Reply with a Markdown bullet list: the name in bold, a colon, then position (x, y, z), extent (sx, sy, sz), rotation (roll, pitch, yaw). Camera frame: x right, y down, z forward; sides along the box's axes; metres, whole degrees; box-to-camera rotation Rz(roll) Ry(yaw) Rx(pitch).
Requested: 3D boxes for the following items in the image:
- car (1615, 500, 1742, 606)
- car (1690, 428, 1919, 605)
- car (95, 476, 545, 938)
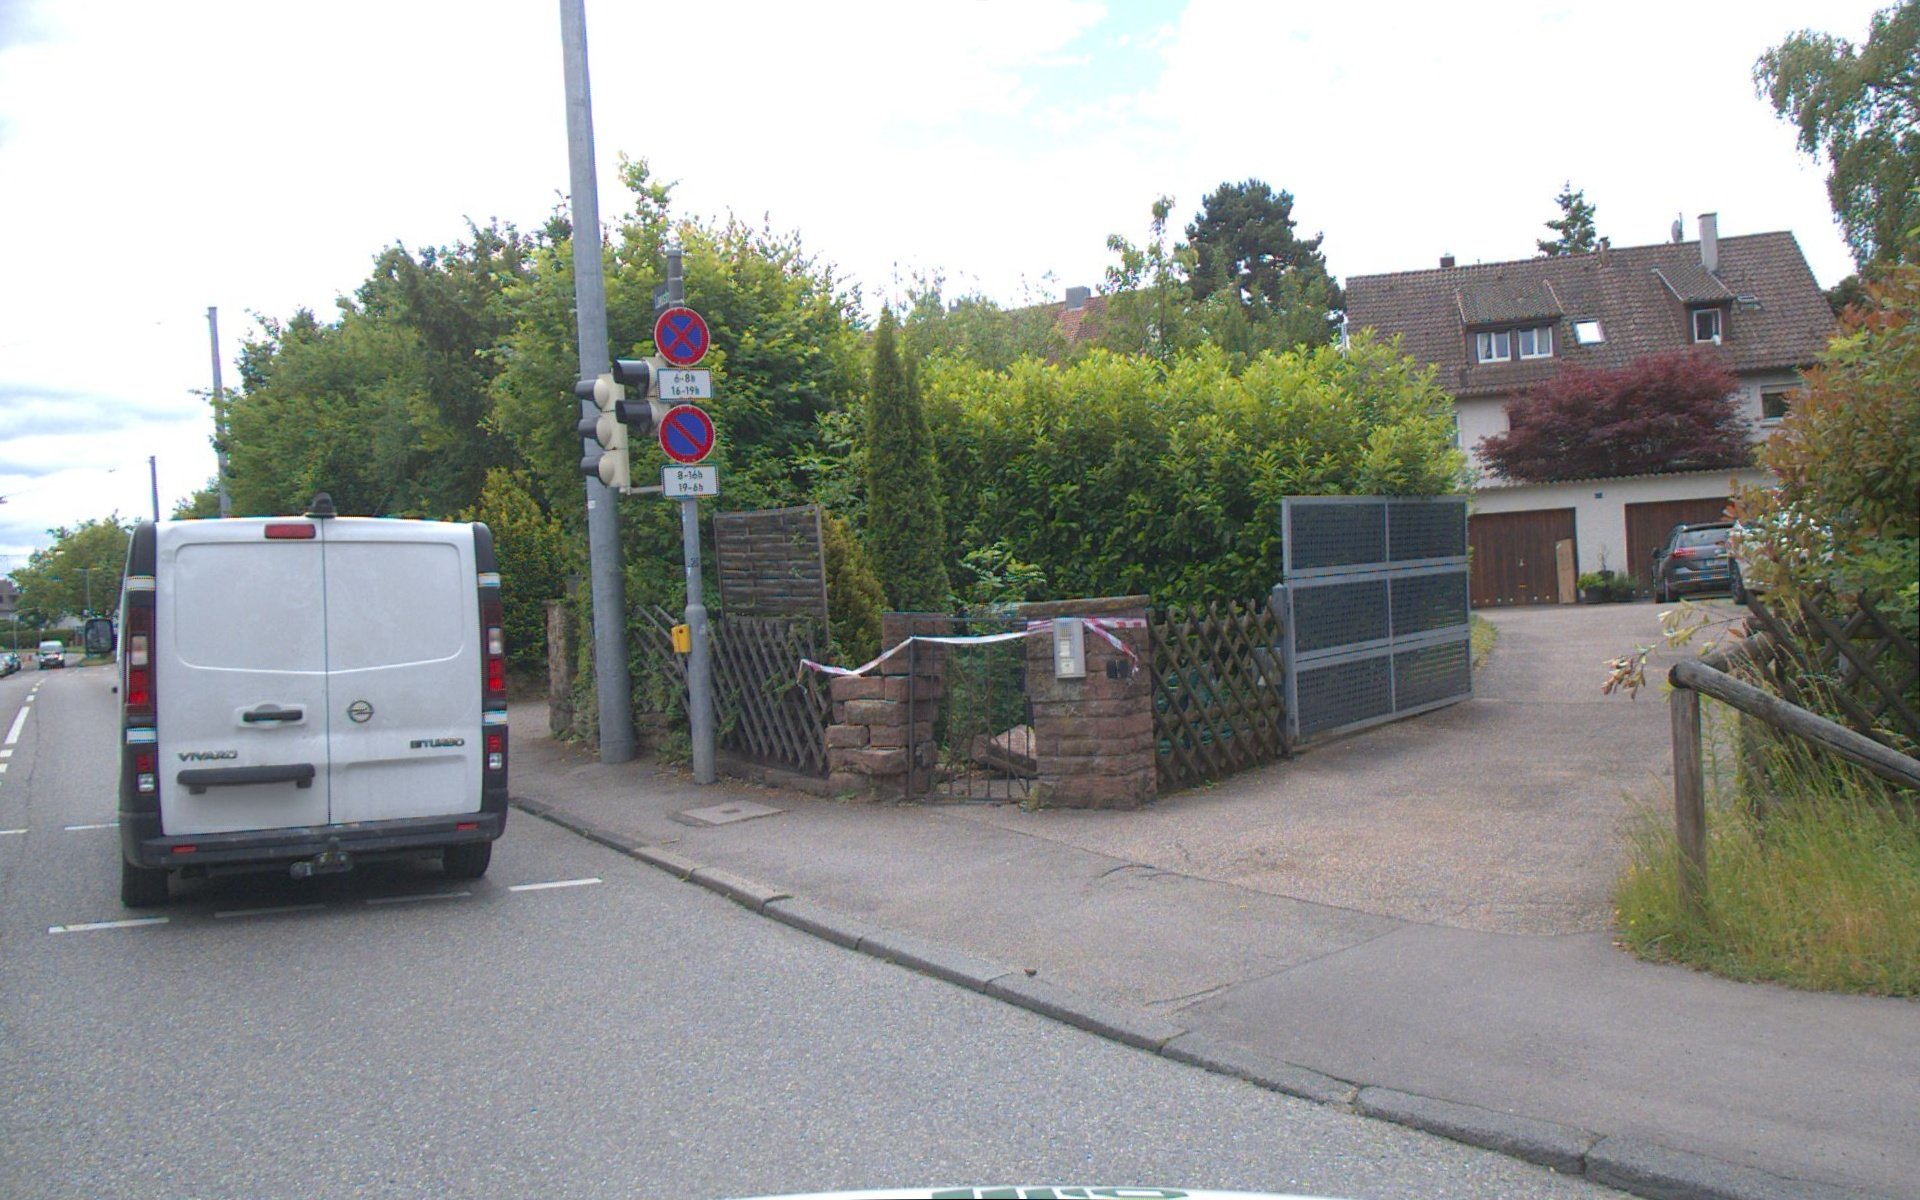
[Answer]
- **car**: position (14.122, -0.875, 32.683), extent (1.561, 1.537, 3.602), rotation (-6, -6, 13)
- **car**: position (11.846, -1.084, 23.280), extent (1.952, 2.048, 4.288), rotation (-6, -1, 13)
- **car**: position (-4.083, 0.487, 10.119), extent (1.982, 2.073, 4.967), rotation (-1, 0, -26)
